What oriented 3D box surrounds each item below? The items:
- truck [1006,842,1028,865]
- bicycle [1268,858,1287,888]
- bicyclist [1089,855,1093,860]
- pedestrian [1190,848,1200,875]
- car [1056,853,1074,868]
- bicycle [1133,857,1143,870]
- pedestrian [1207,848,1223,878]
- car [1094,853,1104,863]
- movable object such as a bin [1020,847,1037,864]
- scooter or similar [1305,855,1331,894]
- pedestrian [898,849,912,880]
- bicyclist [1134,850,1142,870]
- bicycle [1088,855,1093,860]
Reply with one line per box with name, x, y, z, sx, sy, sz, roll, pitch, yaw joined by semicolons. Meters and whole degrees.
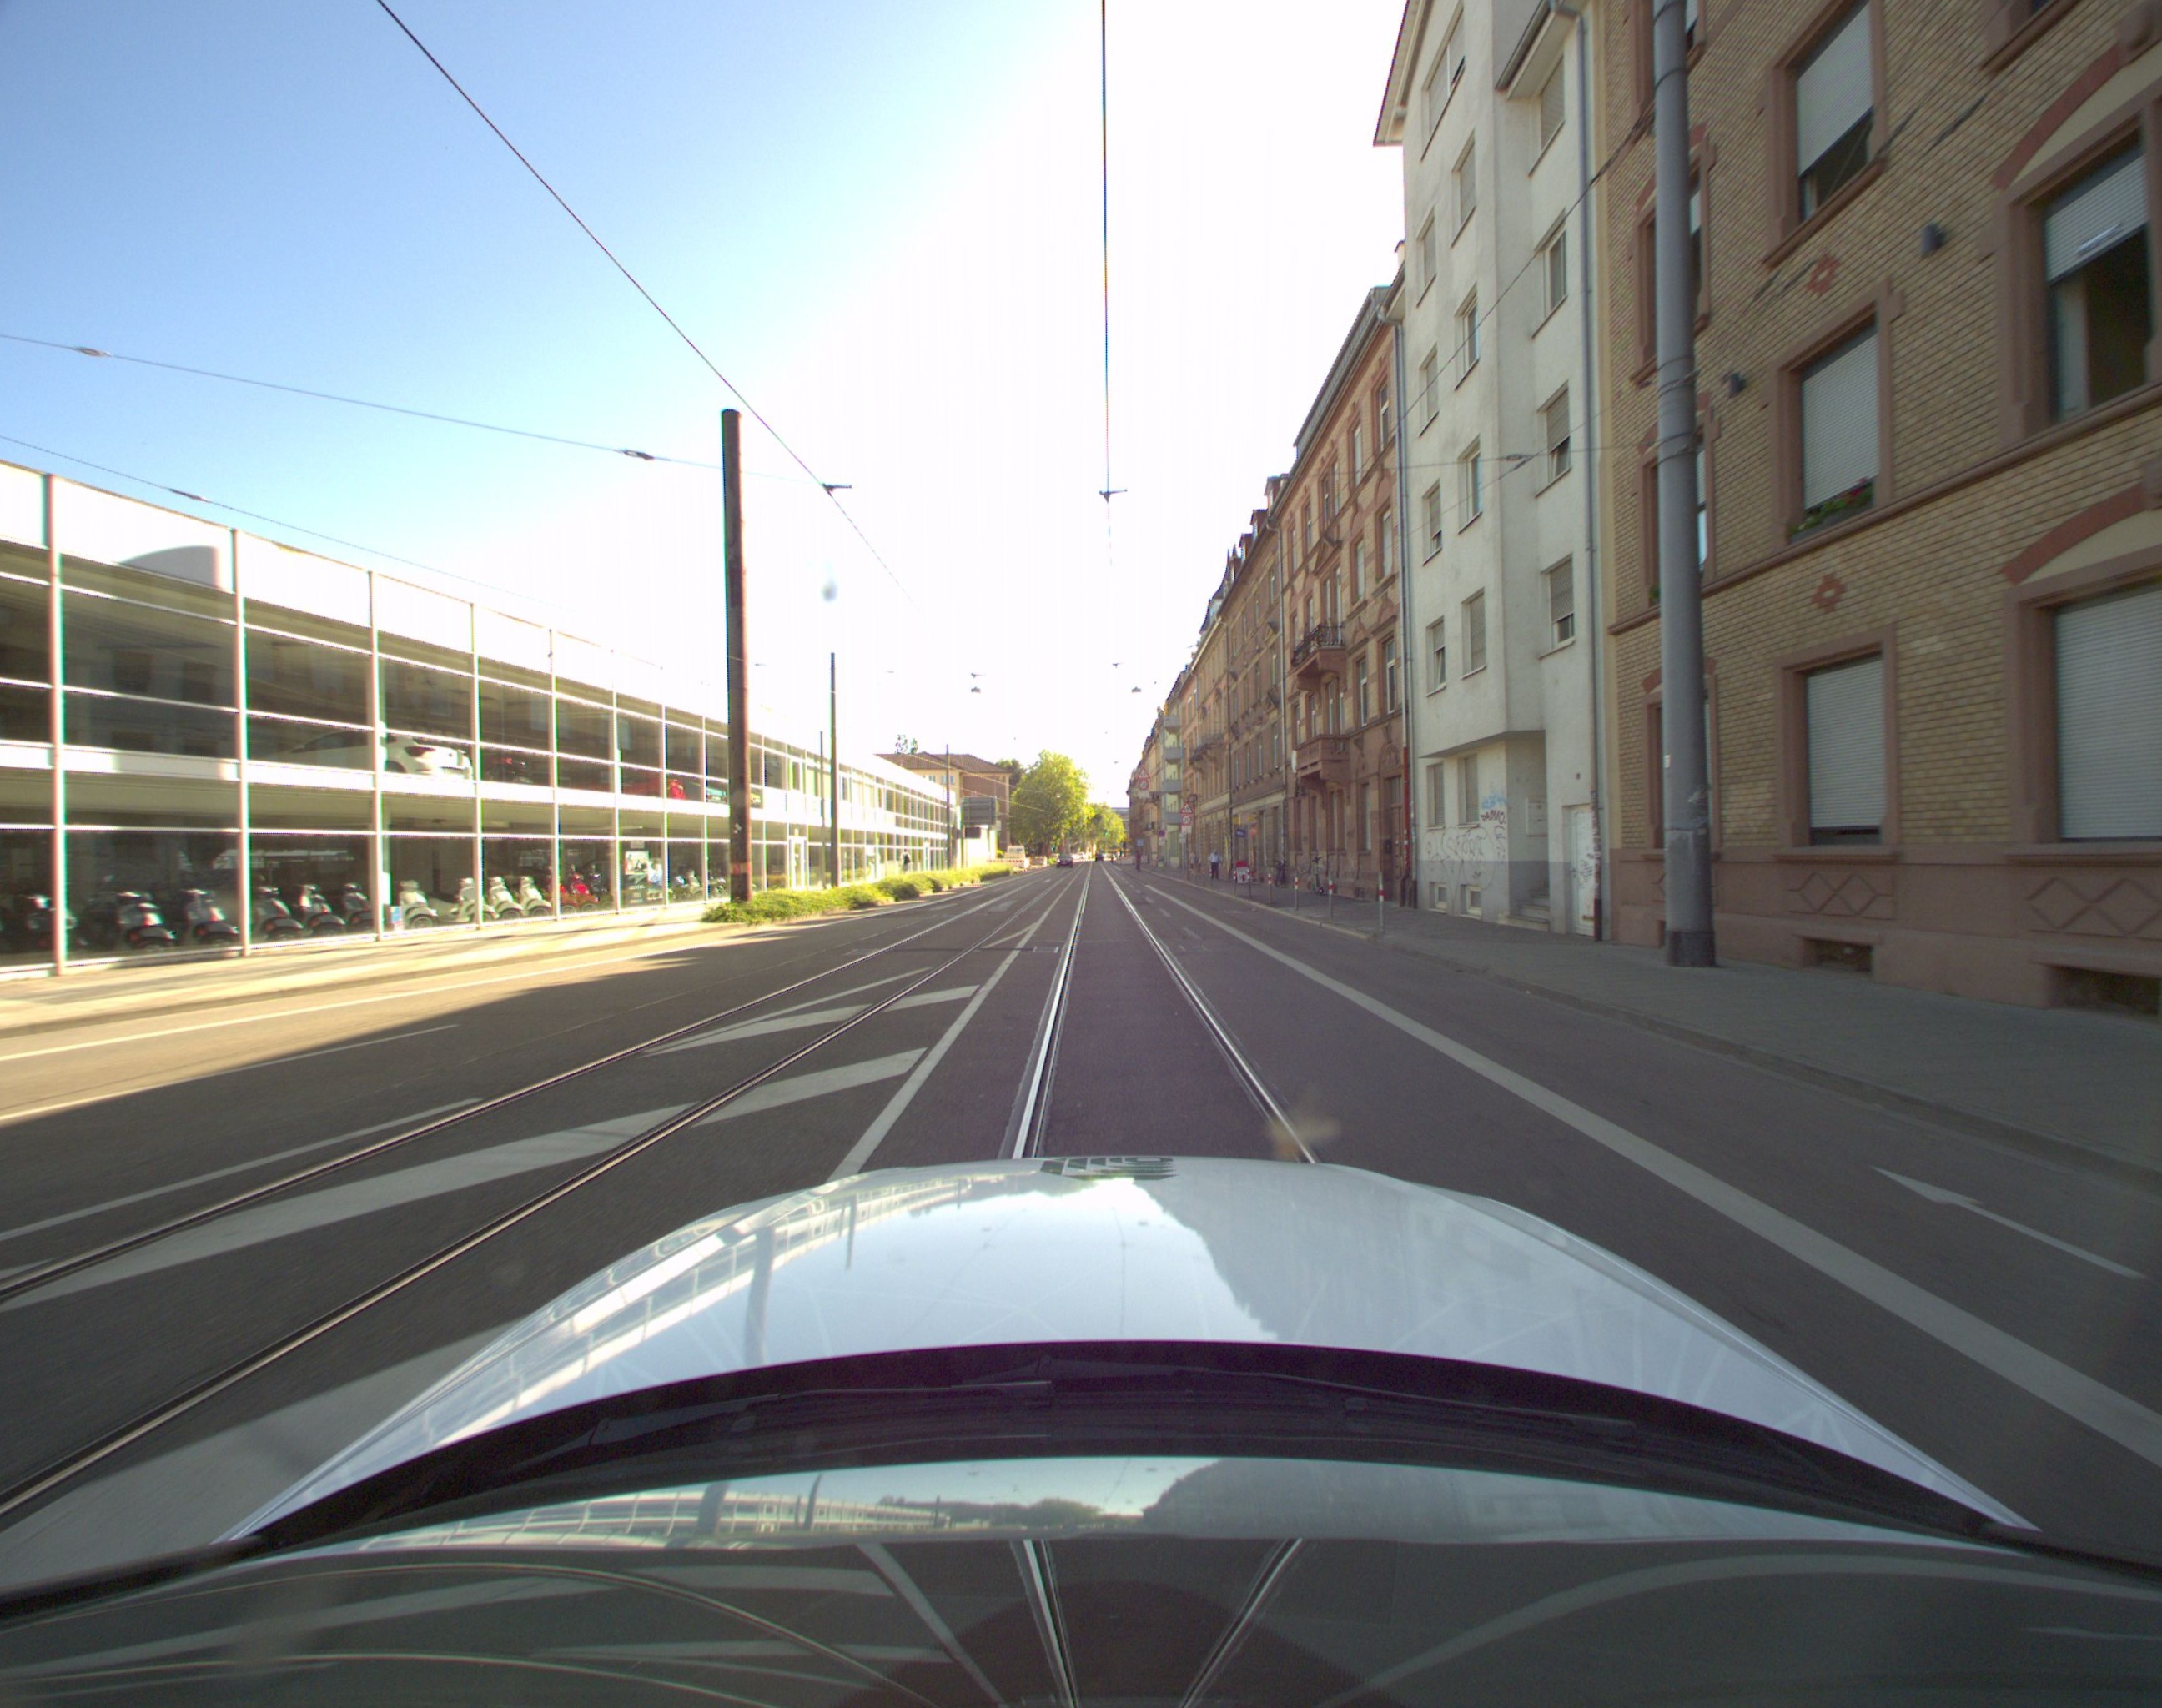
truck;-8.056;0.019;103.355;2.532;2.830;6.369;1;-1;-3
bicycle;7.832;0.750;32.441;0.408;1.121;1.900;-3;-1;5
bicyclist;3.044;1.064;257.925;1.071;1.427;1.149;0;-1;9
pedestrian;7.374;0.469;52.751;0.550;1.701;0.474;-3;-1;5
car;-1.843;0.714;93.951;1.752;1.697;4.145;1;-1;2
bicycle;4.877;0.807;69.625;0.678;1.114;2.707;1;0;1
pedestrian;7.239;0.498;44.027;0.795;1.605;0.653;-1;-1;3
car;3.807;0.901;170.632;1.986;2.014;4.001;1;-1;1
movable object such as a bin;-8.593;0.253;134.389;2.488;2.645;5.985;1;0;-2
scooter or similar;7.660;0.650;26.336;0.405;1.211;1.480;-2;-1;1
pedestrian;-10.372;0.628;47.971;0.525;1.765;1.051;1;-1;1
bicyclist;4.876;0.512;69.745;0.665;1.697;1.043;1;-1;0
bicycle;2.967;1.232;258.031;1.227;1.572;2.903;0;-1;8
